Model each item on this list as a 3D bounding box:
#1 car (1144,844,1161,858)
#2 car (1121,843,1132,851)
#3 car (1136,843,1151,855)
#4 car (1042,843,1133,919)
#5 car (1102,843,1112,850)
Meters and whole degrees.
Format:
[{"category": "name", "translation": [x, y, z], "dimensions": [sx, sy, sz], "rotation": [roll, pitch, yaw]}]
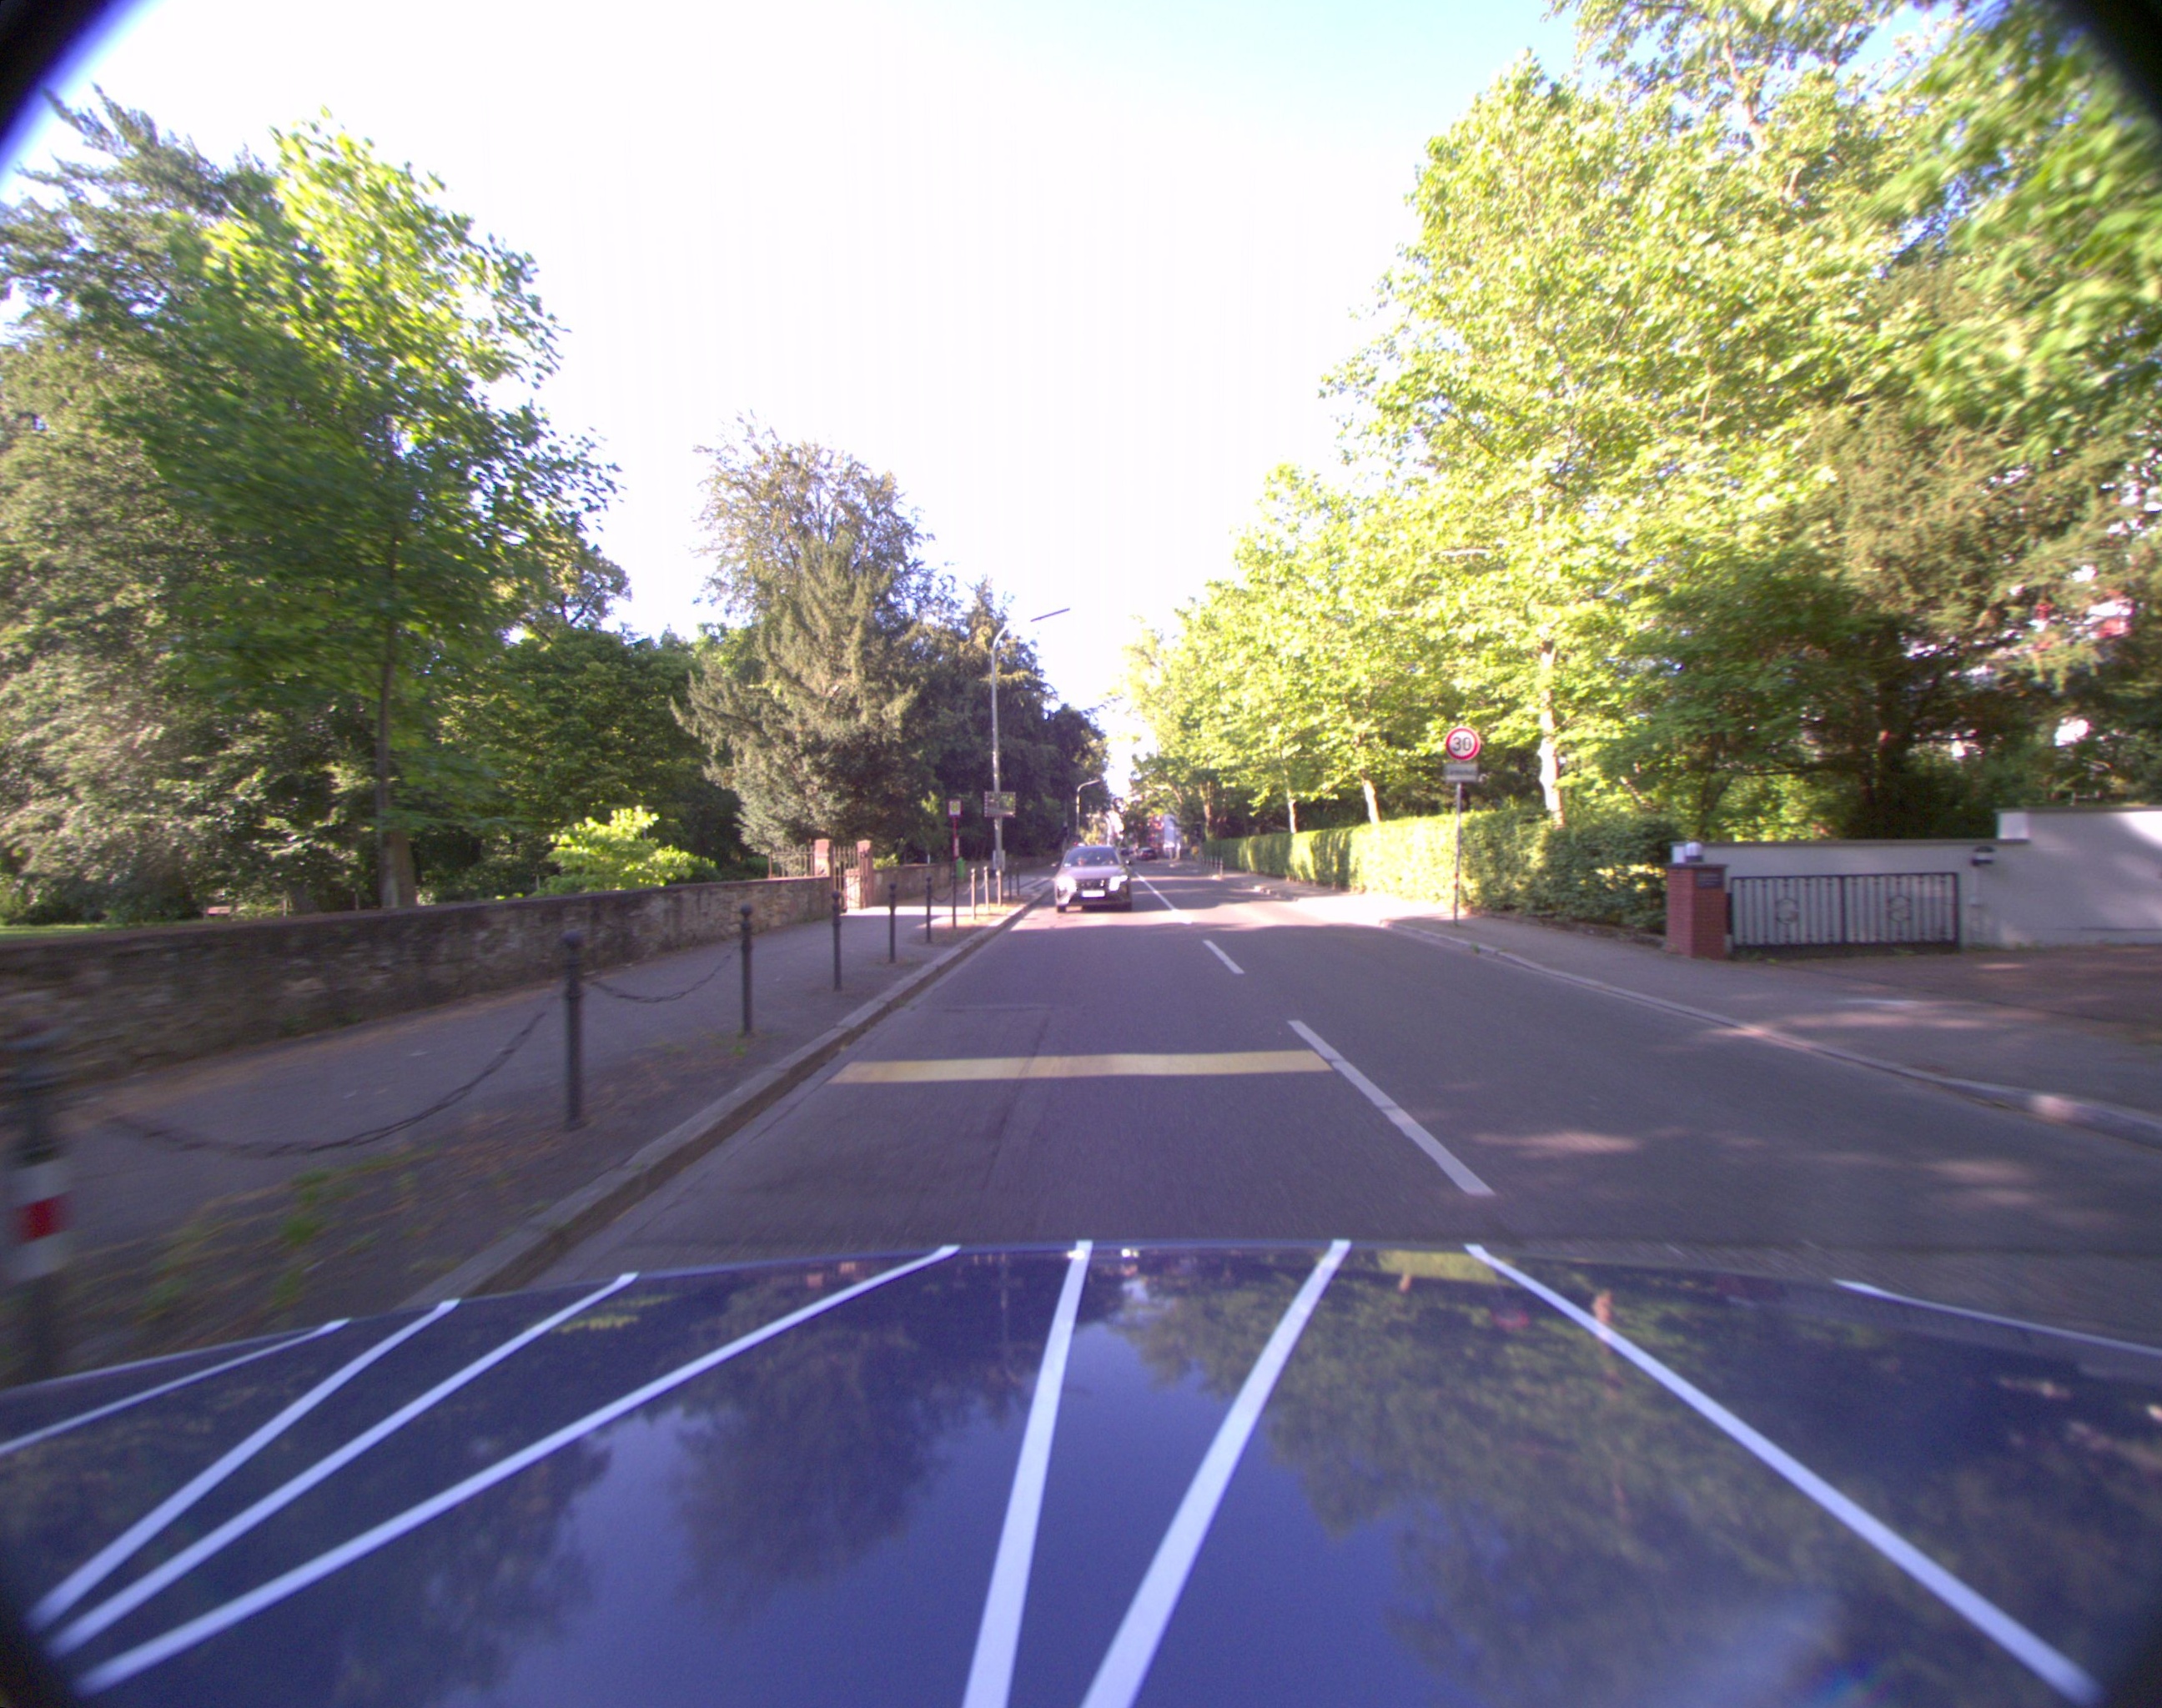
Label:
[{"category": "car", "translation": [8.457, -0.371, 90.242], "dimensions": [1.689, 1.426, 3.615], "rotation": [-4, 1, 1]}, {"category": "car", "translation": [8.777, -1.331, 147.017], "dimensions": [1.824, 1.375, 3.933], "rotation": [2, 1, -3]}, {"category": "car", "translation": [8.258, -0.681, 100.151], "dimensions": [1.627, 1.426, 3.559], "rotation": [-3, 1, 0]}, {"category": "car", "translation": [0.291, 0.584, 19.149], "dimensions": [1.936, 1.676, 4.433], "rotation": [-1, 1, 5]}, {"category": "car", "translation": [5.536, -1.699, 165.035], "dimensions": [1.824, 1.375, 3.933], "rotation": [2, 1, -3]}]
